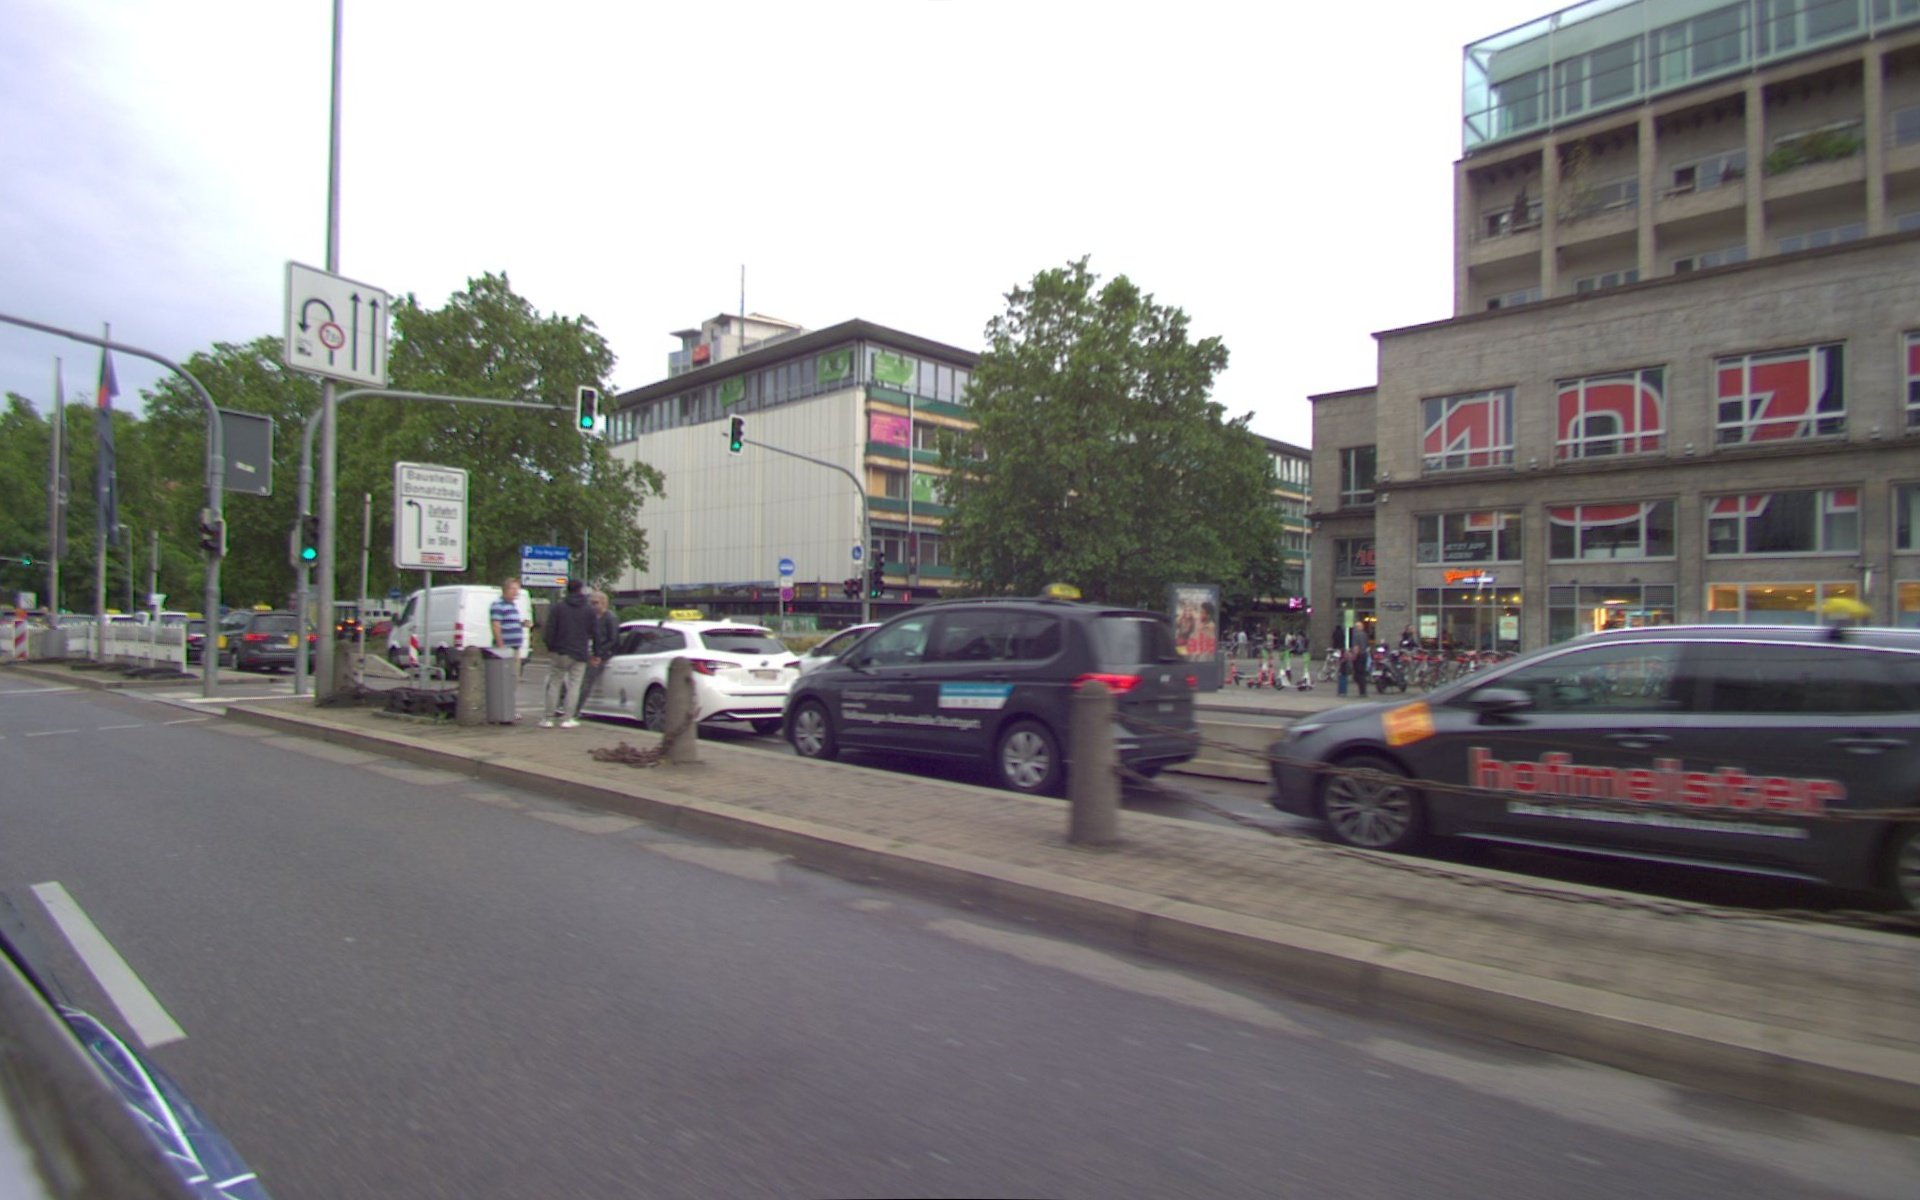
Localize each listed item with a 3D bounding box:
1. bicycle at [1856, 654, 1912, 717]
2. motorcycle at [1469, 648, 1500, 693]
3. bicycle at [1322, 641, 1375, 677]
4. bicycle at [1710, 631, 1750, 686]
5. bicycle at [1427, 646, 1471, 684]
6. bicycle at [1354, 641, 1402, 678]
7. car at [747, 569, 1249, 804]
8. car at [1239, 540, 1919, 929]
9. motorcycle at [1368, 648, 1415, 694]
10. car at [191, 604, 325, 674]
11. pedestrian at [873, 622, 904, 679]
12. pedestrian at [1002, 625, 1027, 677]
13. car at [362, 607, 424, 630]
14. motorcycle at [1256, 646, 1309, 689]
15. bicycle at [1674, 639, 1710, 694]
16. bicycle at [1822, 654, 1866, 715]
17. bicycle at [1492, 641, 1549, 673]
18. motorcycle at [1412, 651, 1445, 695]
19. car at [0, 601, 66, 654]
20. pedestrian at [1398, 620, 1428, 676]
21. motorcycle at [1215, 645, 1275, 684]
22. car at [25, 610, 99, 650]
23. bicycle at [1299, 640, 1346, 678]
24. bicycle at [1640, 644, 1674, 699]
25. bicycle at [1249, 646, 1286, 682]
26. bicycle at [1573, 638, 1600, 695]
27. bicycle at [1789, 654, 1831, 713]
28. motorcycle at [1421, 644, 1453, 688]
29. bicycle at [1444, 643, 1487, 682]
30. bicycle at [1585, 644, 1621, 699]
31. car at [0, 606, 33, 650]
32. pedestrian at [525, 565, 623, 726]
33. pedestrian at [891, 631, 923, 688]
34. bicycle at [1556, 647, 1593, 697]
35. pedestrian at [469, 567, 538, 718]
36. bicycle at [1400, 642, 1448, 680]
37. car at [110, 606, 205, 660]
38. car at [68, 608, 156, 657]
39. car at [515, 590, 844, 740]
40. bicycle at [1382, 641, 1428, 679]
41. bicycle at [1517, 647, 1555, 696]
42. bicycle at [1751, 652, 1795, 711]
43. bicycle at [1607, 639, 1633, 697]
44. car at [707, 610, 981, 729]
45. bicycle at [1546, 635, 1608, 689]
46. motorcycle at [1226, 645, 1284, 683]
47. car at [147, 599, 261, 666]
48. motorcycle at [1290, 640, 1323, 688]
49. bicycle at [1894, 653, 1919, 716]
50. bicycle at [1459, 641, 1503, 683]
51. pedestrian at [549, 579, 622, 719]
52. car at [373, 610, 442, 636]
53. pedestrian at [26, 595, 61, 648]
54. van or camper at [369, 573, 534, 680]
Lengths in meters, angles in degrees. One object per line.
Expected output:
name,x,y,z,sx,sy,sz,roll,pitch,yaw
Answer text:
bicycle,21.508,1.966,23.589,0.678,1.335,1.911,-1,-1,34
motorcycle,13.612,1.812,26.234,0.581,1.065,1.695,-1,-1,31
bicycle,12.465,1.873,32.463,1.591,1.065,0.708,-1,-1,-31
bicycle,19.483,1.458,25.628,0.678,1.335,1.714,-1,-2,34
bicycle,14.691,1.938,30.375,1.592,1.065,0.445,-1,-1,-35
bicycle,13.143,1.854,31.790,1.591,1.065,0.511,-1,-1,-31
car,0.148,0.684,9.675,4.682,1.703,1.908,0,-3,43
car,4.200,0.633,5.765,4.682,1.703,1.908,0,-3,43
motorcycle,11.776,1.921,27.591,0.583,1.143,1.788,-1,-1,44
car,-18.710,1.000,26.884,4.497,1.712,1.883,-2,-1,41
pedestrian,-2.233,1.567,31.501,0.658,1.698,0.592,-1,3,41
pedestrian,1.758,1.642,32.615,0.606,1.654,0.525,0,-4,24
car,-53.767,1.780,96.015,4.760,2.029,2.038,-1,-1,-42
motorcycle,8.779,1.822,27.611,0.593,1.065,1.819,-1,-1,-10
bicycle,18.862,1.680,26.095,0.678,1.335,1.653,-1,-2,34
bicycle,20.828,1.968,23.872,0.570,1.335,1.548,-1,-2,34
bicycle,15.929,1.599,28.764,1.377,0.857,0.673,-1,-1,32
motorcycle,12.468,1.928,26.918,0.601,1.065,1.427,-2,-1,33
car,-34.848,1.047,37.502,4.808,1.831,1.973,-2,-3,41
pedestrian,16.765,1.747,37.468,0.820,2.029,0.867,-1,-1,37
motorcycle,8.312,1.862,29.564,0.574,1.065,1.627,-1,-1,-39
car,-40.913,1.358,46.083,4.418,1.715,1.871,-2,-1,40
bicycle,11.832,1.913,33.023,1.464,1.139,0.682,-1,-1,-34
bicycle,18.310,1.856,26.604,0.678,1.335,1.653,-1,-2,34
bicycle,10.361,2.139,34.077,0.679,1.139,1.470,-2,-1,38
bicycle,17.048,1.782,27.537,0.565,1.445,1.473,-2,-1,32
bicycle,20.640,2.003,24.590,0.579,1.335,1.691,-1,-2,34
motorcycle,12.721,1.737,26.956,0.581,1.065,1.695,-1,-1,31
bicycle,14.966,1.838,29.969,1.593,1.065,0.457,-1,-1,-37
bicycle,15.460,1.690,24.329,0.595,1.189,2.070,-2,-1,35
car,-40.884,1.194,42.770,4.808,1.784,1.973,-2,-3,41
pedestrian,-4.462,0.530,11.726,0.604,1.789,0.776,0,-4,31
pedestrian,-1.596,1.803,30.722,0.559,1.698,0.742,-1,-5,40
bicycle,14.986,1.728,24.673,0.595,1.085,2.070,-2,-1,35
pedestrian,-5.626,0.534,12.506,0.550,1.789,0.754,3,-4,-13
bicycle,14.114,1.855,30.765,1.591,1.065,0.499,-1,-1,-32
car,-27.674,1.144,34.845,4.480,1.735,1.765,-2,-3,41
car,-33.861,1.289,40.363,4.562,1.865,1.895,-1,-3,40
car,-3.892,0.804,13.503,4.843,1.633,1.992,-1,-4,44
bicycle,13.708,1.837,31.143,1.591,1.065,0.426,-1,-1,-31
bicycle,14.343,1.749,25.167,0.595,1.064,2.070,-2,-1,35
bicycle,20.129,1.993,25.078,0.678,1.335,1.691,-1,-2,34
bicycle,17.641,1.804,27.052,0.512,1.445,1.473,-2,-1,32
car,-2.035,1.046,16.771,4.682,1.703,1.908,0,-3,43
bicycle,17.928,1.780,29.440,0.671,1.445,1.776,-1,-1,0
motorcycle,8.840,1.902,30.371,0.574,1.065,1.627,-1,-1,-39
car,-23.152,0.968,30.930,4.520,1.912,1.883,-2,-1,41
motorcycle,9.907,1.801,28.875,0.692,1.237,1.940,-1,-1,24
bicycle,22.043,1.919,23.181,0.591,1.335,2.188,-1,-1,34
bicycle,15.258,1.802,29.627,1.583,1.118,0.434,-1,-1,-36
pedestrian,-4.763,0.606,12.871,0.593,1.724,0.644,-2,-1,42
car,-37.835,1.575,69.386,3.684,1.554,1.856,-2,2,-10
pedestrian,-35.528,0.815,39.231,0.820,2.029,0.867,-1,-1,37
van or camper,-13.518,0.730,26.747,5.369,2.533,1.972,-1,-5,42
